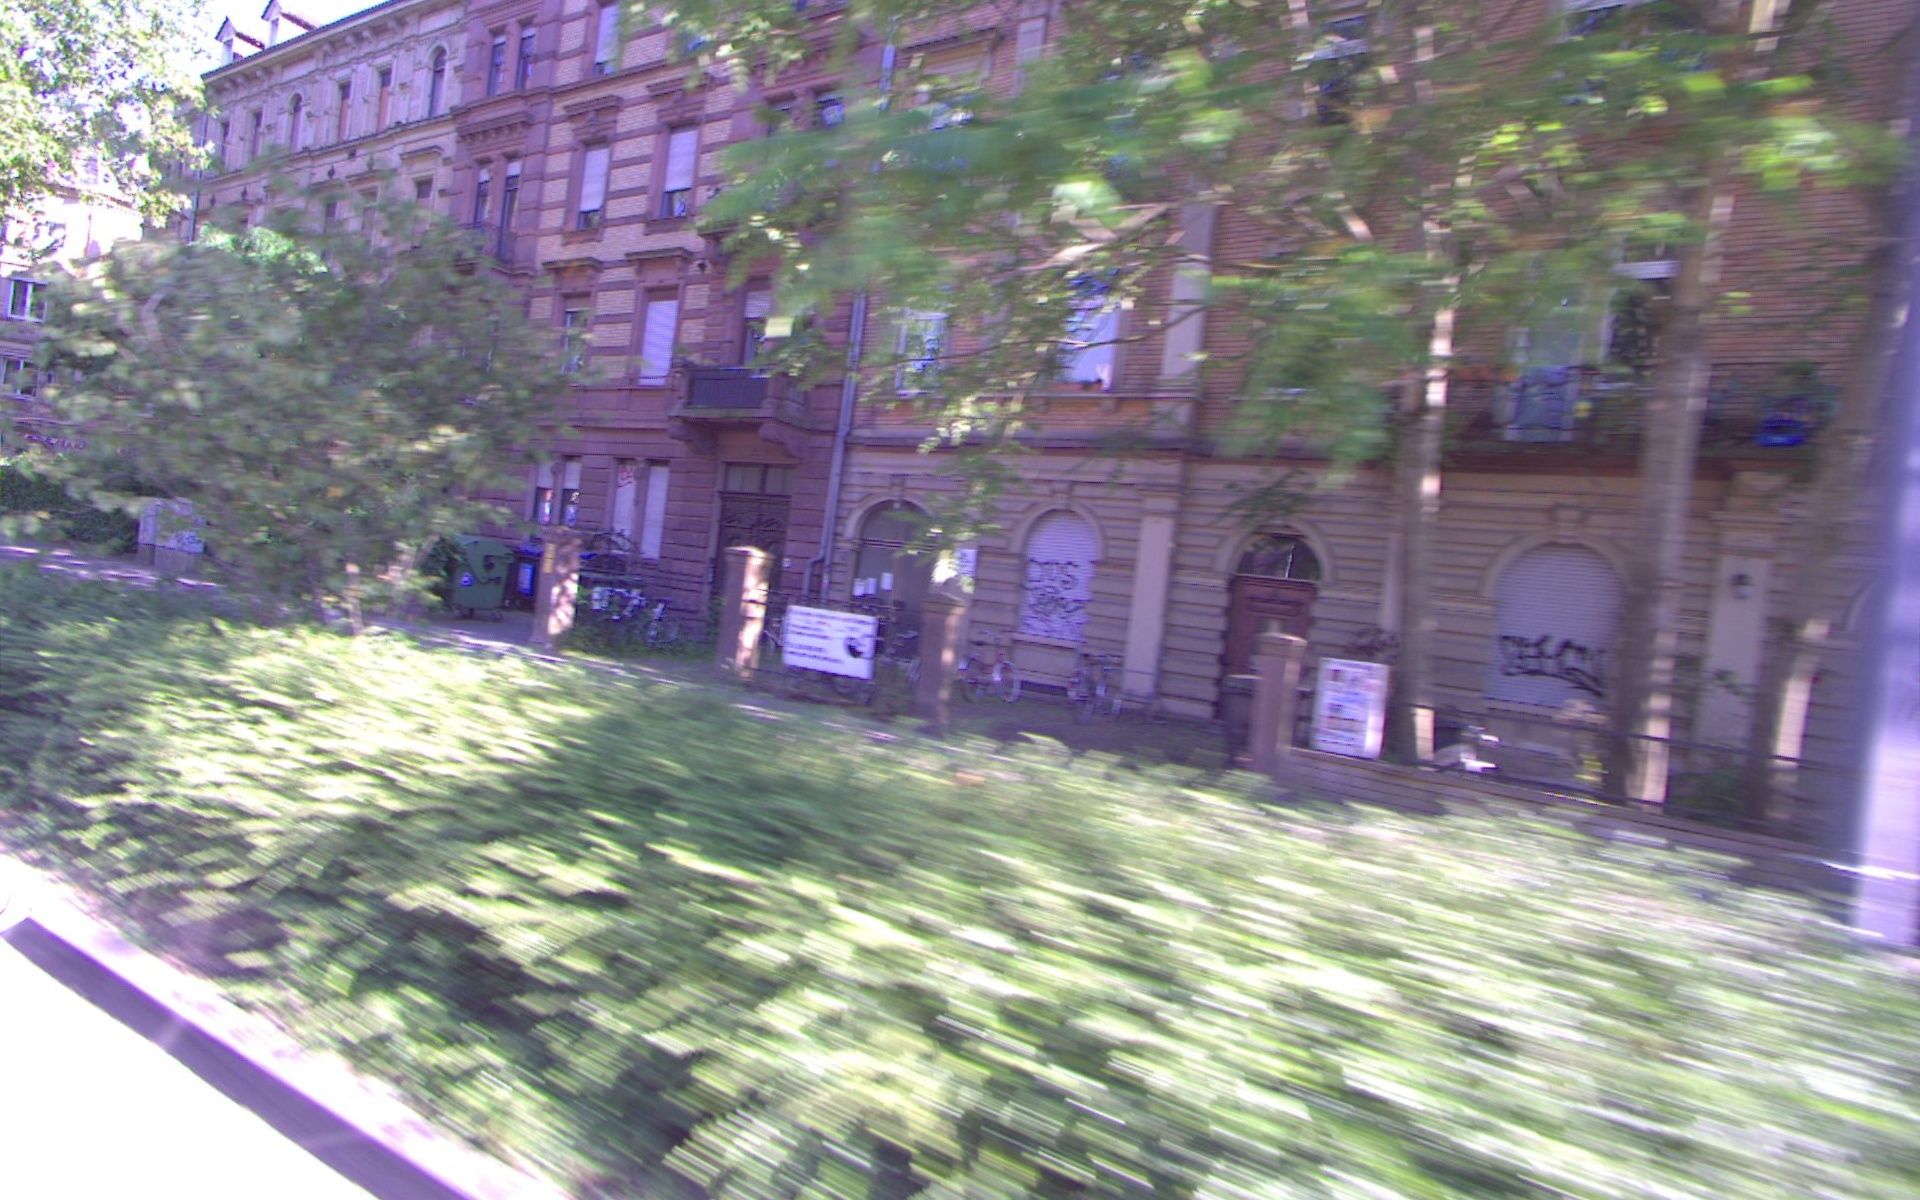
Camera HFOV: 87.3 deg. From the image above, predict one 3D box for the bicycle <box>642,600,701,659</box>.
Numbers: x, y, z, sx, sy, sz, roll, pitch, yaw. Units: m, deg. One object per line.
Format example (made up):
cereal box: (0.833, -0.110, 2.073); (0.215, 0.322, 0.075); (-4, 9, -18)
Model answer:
bicycle: (-4.616, 0.483, 16.121); (0.369, 0.865, 0.769); (10, 3, 29)

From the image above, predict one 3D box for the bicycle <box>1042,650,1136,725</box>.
bicycle: (1.852, 1.236, 14.235); (0.435, 0.936, 1.730); (11, 3, 35)

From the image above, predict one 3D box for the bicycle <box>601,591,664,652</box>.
bicycle: (-5.027, 0.343, 15.454); (0.369, 0.865, 0.769); (10, 3, 29)

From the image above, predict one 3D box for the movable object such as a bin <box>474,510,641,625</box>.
movable object such as a bin: (-8.523, -0.695, 21.253); (3.177, 2.021, 1.547); (8, 1, 32)

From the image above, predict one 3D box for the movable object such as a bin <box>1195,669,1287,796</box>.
movable object such as a bin: (2.700, 1.248, 9.661); (0.641, 1.074, 0.596); (5, 3, 32)

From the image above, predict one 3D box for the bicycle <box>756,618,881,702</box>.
bicycle: (-1.790, 0.780, 12.976); (0.530, 0.936, 1.653); (11, 2, 33)

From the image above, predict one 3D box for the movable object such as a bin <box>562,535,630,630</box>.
movable object such as a bin: (-7.110, -0.342, 19.645); (0.730, 1.715, 0.755); (11, 3, 30)

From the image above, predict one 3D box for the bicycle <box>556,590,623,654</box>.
bicycle: (-5.423, 0.327, 14.754); (0.369, 0.865, 0.769); (10, 3, 29)

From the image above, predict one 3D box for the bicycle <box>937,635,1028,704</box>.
bicycle: (0.367, 1.070, 15.354); (0.435, 0.937, 1.596); (11, 3, 35)

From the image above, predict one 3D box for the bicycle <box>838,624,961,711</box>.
bicycle: (-0.729, 0.847, 12.576); (0.530, 0.936, 1.653); (11, 2, 33)

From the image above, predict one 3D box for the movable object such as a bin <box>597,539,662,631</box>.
movable object such as a bin: (-6.679, -0.291, 20.358); (0.730, 1.715, 0.755); (11, 3, 30)

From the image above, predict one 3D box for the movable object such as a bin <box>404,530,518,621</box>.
movable object such as a bin: (-8.816, -0.432, 17.801); (1.236, 1.400, 1.233); (8, 1, 31)
